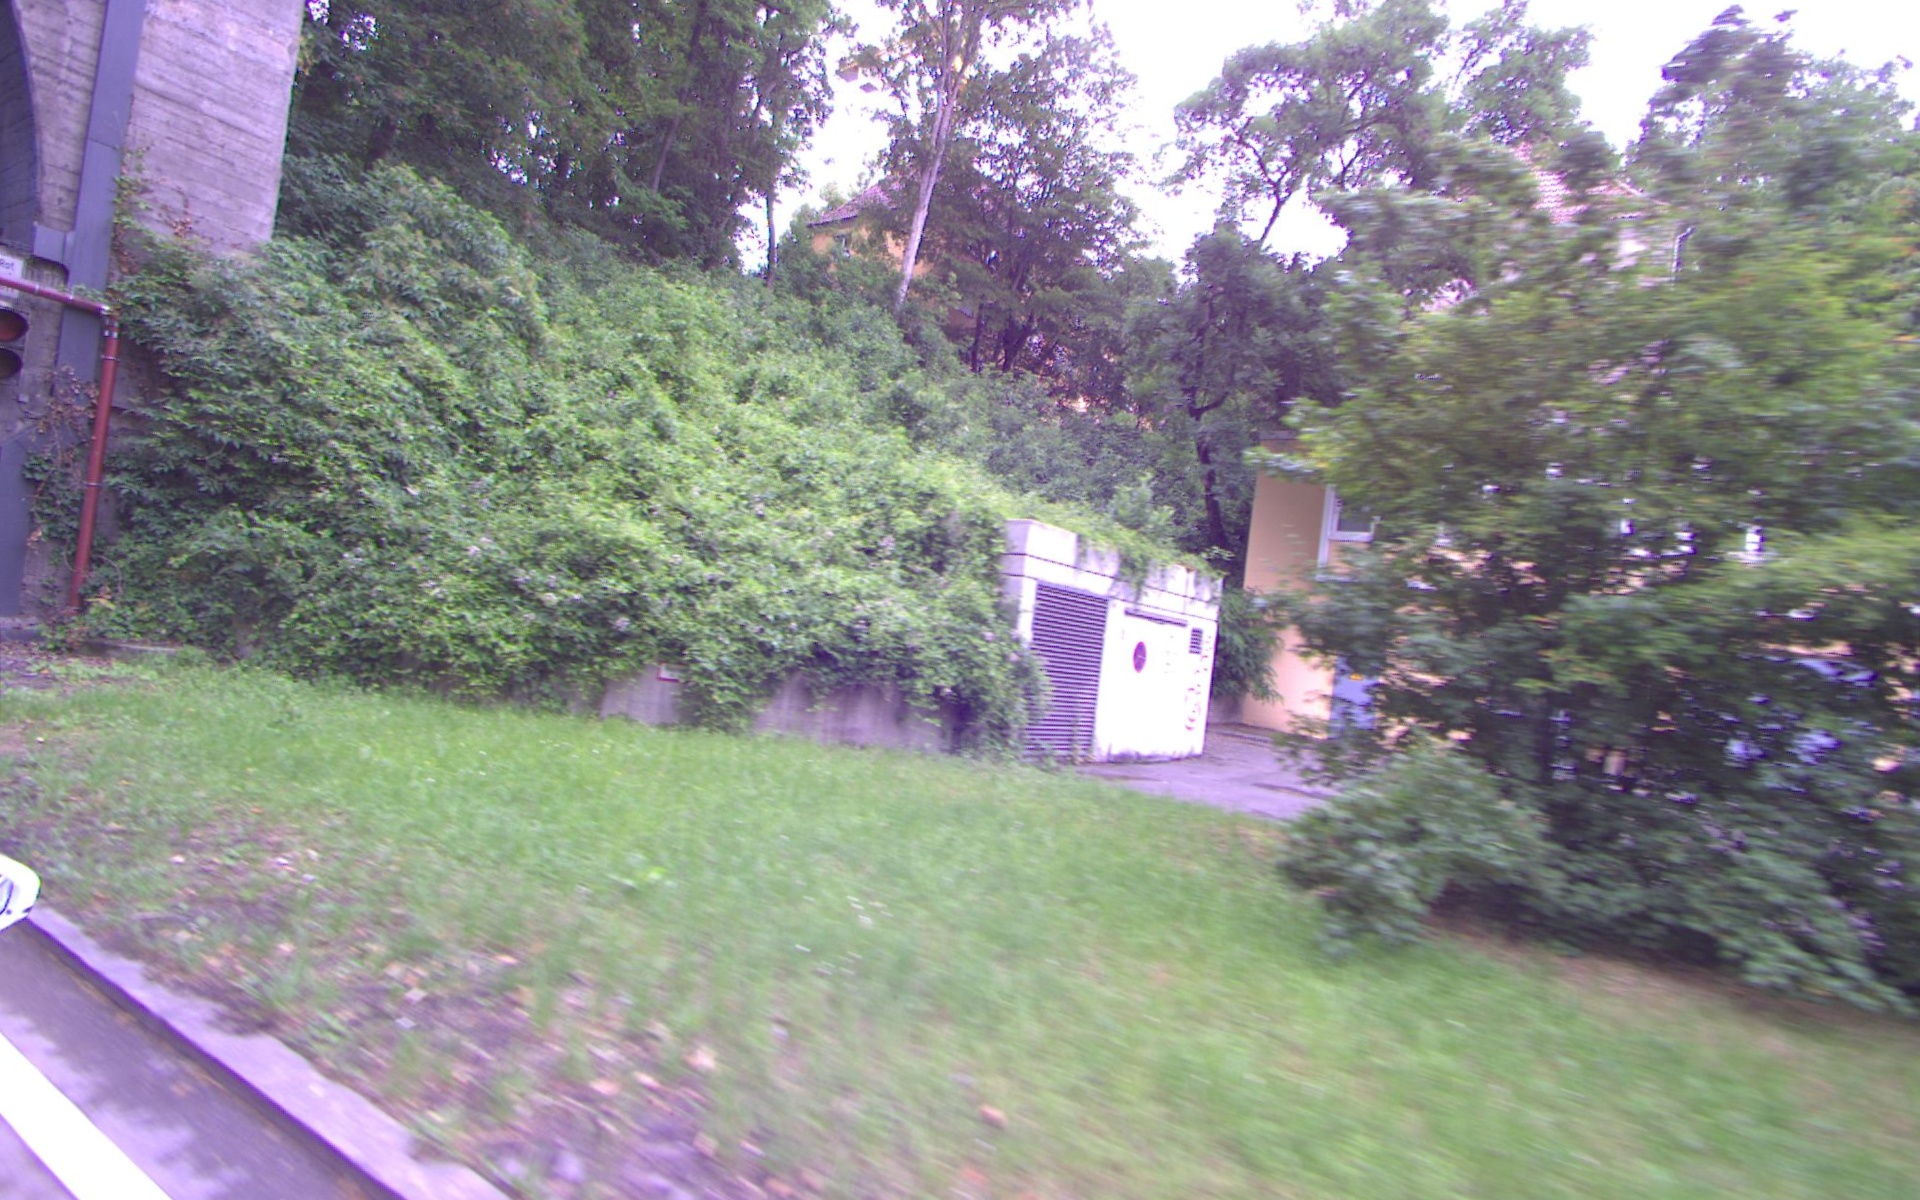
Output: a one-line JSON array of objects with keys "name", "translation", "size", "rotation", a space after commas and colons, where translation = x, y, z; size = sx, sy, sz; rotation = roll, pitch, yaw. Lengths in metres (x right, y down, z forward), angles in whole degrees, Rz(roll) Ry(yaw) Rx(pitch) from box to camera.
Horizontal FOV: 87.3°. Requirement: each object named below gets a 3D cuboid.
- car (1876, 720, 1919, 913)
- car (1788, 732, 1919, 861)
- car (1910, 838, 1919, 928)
[{"name": "car", "translation": [12.533, 2.568, 10.104], "size": [4.488, 2.038, 1.859], "rotation": [6, -2, 33]}, {"name": "car", "translation": [13.487, 2.746, 12.777], "size": [4.256, 1.442, 1.799], "rotation": [6, -2, 33]}, {"name": "car", "translation": [11.316, 2.461, 8.152], "size": [4.804, 1.900, 1.860], "rotation": [6, -2, 31]}]
